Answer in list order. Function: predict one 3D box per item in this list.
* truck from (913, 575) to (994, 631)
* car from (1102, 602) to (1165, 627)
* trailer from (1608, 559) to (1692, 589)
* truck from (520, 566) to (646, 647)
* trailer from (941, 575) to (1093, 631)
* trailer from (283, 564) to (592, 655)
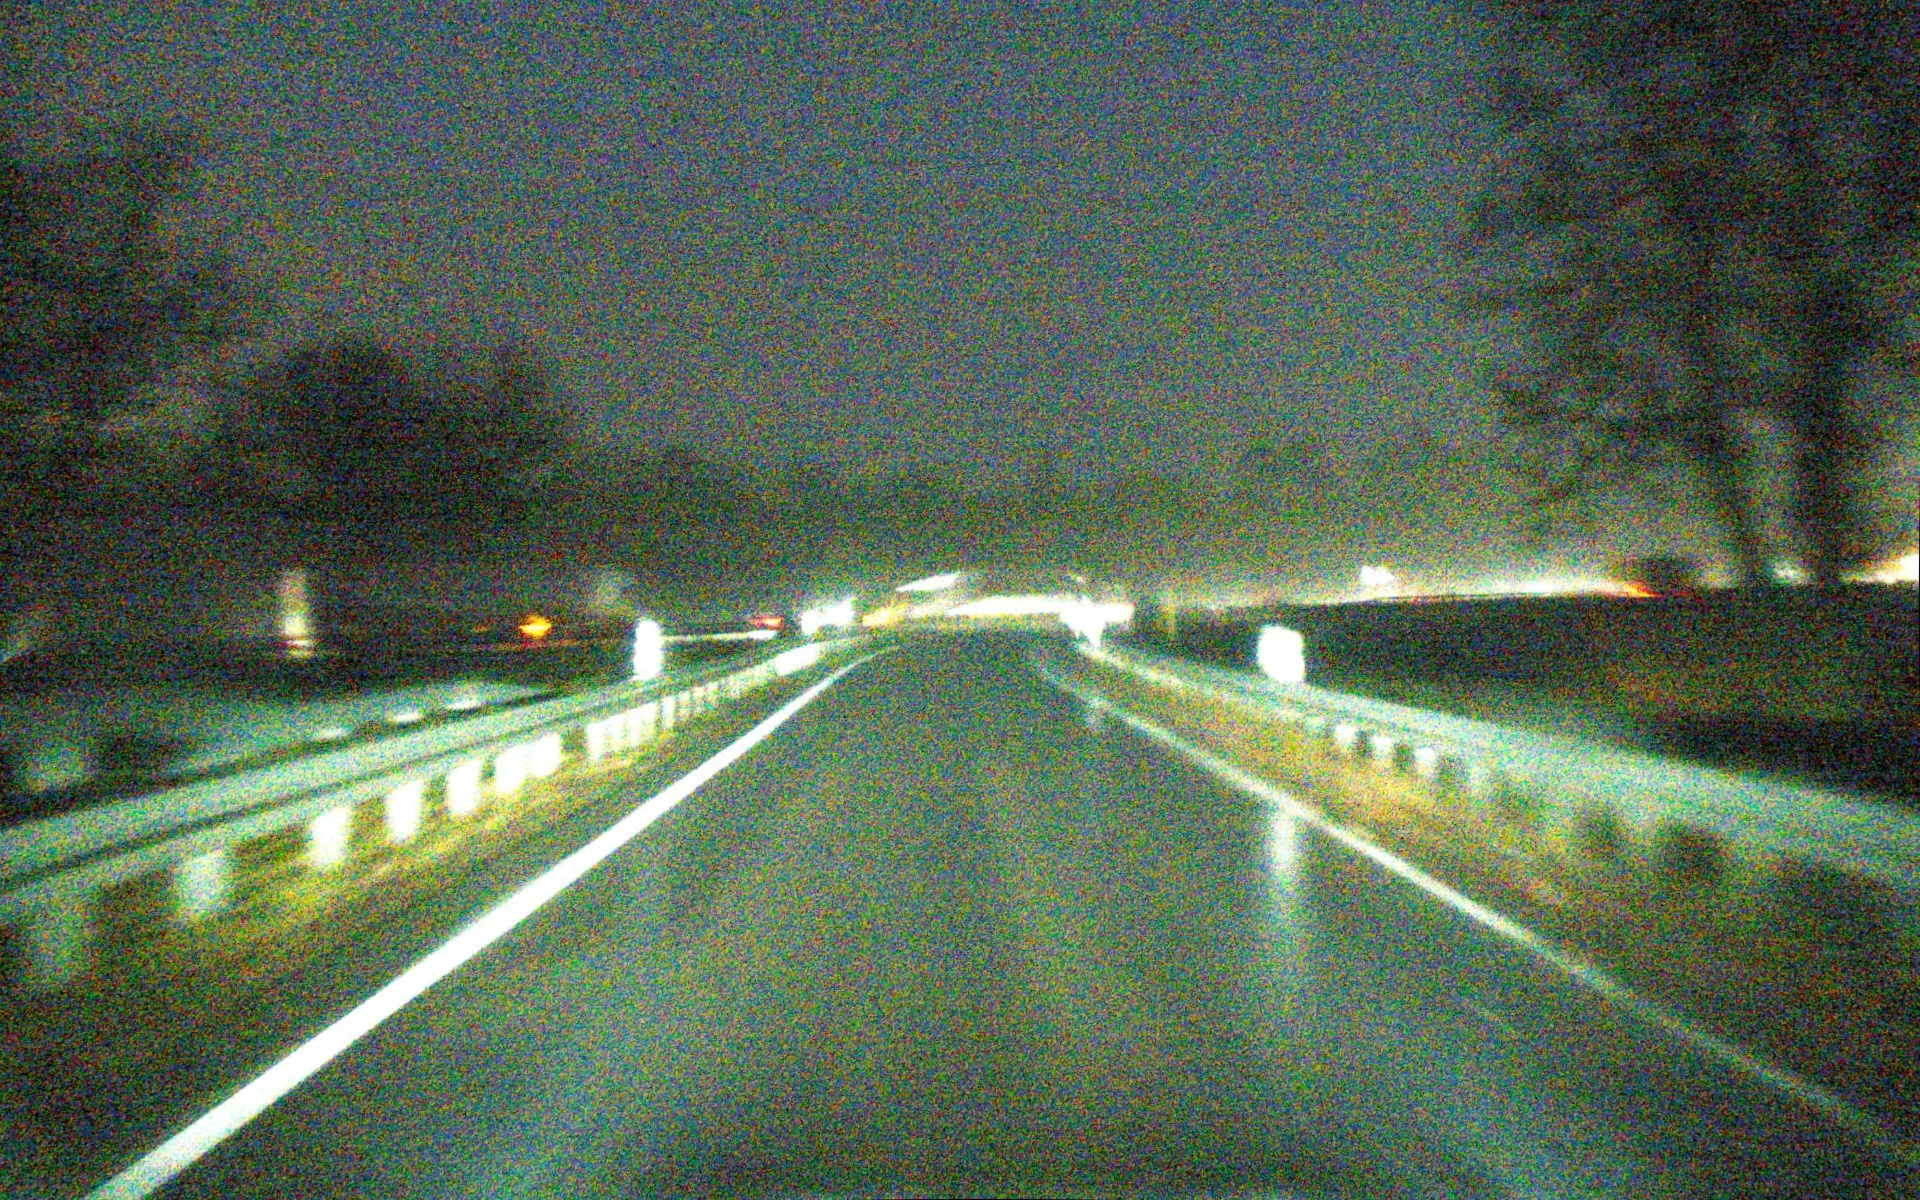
[{"bbox_3d":[-0.470,0.214,124.101,5.700,4.099,2.737,-1,1,-42],"label":"truck"},{"bbox_3d":[11.427,0.945,108.692,3.965,1.545,1.970,0,1,-42],"label":"car"},{"bbox_3d":[66.329,-2.488,158.711,12.758,2.747,2.652,-1,1,-44],"label":"trailer"},{"bbox_3d":[-18.079,0.272,79.502,5.411,3.776,2.557,-1,1,-42],"label":"truck"},{"bbox_3d":[4.604,0.144,128.771,13.896,4.099,2.736,-1,1,-43],"label":"trailer"},{"bbox_3d":[-23.307,0.313,74.778,13.535,3.790,2.560,-1,1,-42],"label":"trailer"}]
